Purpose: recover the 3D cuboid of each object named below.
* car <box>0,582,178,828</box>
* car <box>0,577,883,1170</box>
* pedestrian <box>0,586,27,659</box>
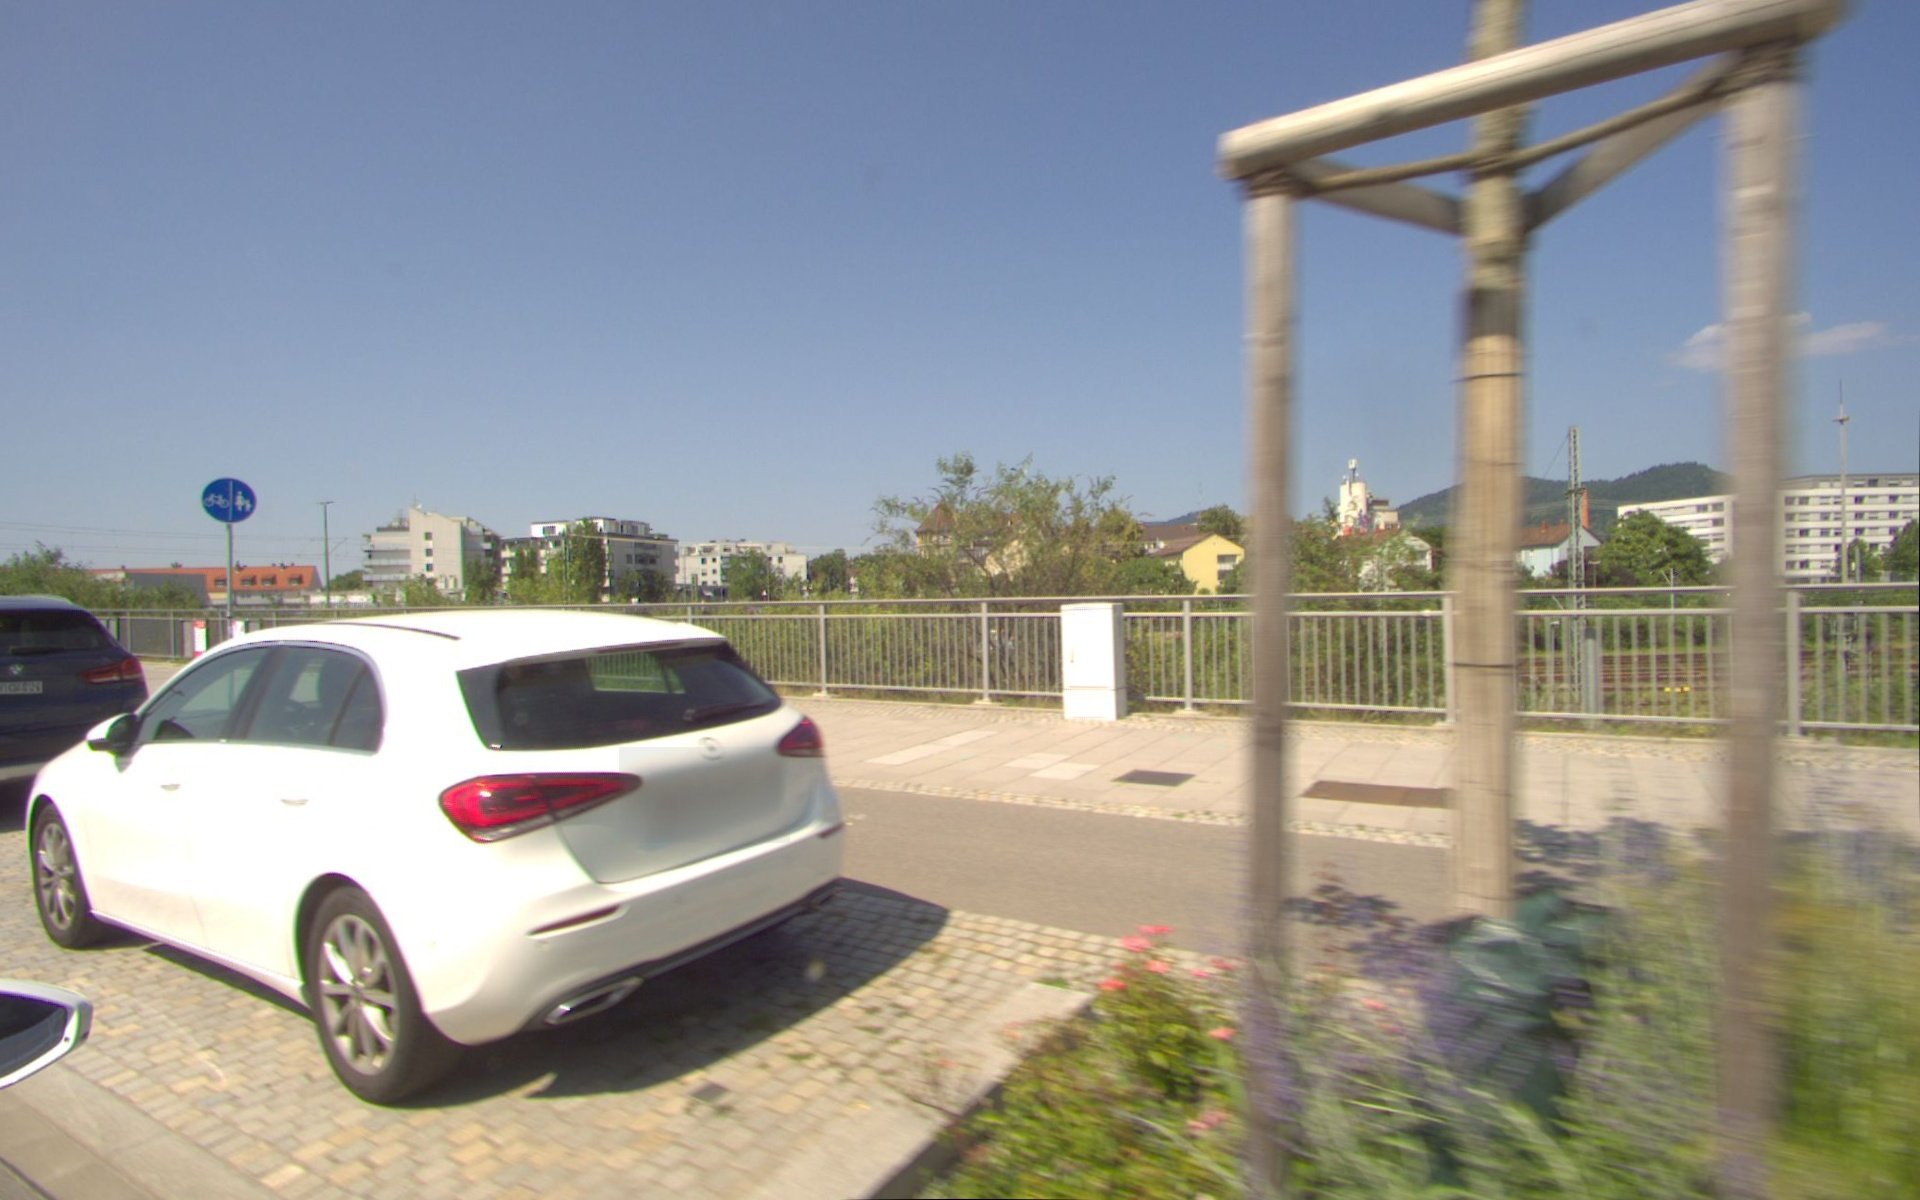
[{"bbox_3d":[-7.940,0.736,7.807,3.560,1.639,1.817,-1,2,33],"label":"car"},{"bbox_3d":[-2.513,0.720,4.381,4.146,1.495,1.692,-1,1,33],"label":"car"},{"bbox_3d":[-21.269,0.512,22.352,0.516,1.595,0.532,-2,-2,32],"label":"pedestrian"}]
